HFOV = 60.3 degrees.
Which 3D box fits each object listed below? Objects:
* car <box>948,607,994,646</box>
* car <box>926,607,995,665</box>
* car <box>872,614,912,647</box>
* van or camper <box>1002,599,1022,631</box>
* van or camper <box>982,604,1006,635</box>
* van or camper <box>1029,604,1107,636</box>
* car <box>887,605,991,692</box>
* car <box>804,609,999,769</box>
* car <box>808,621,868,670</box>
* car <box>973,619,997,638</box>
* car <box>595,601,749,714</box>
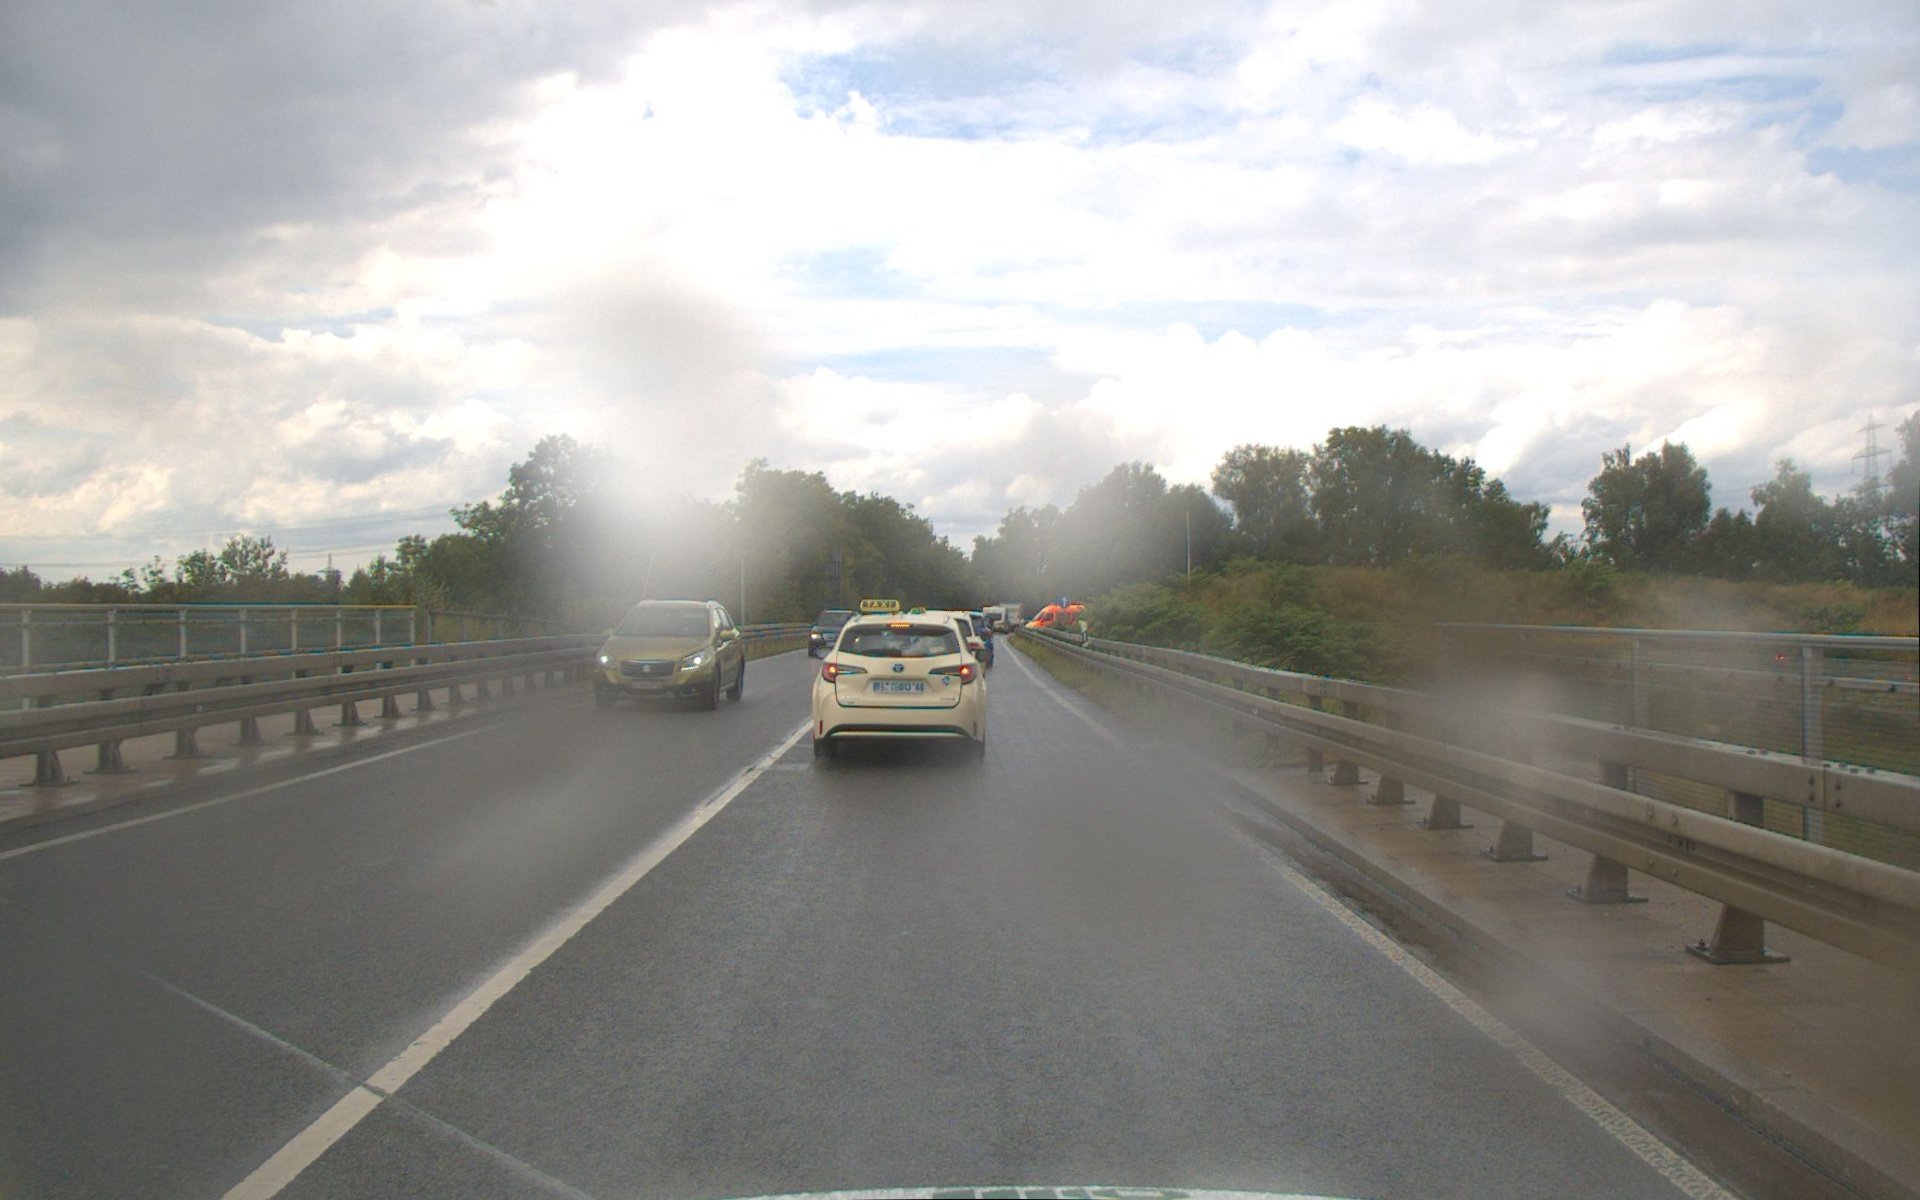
[{"bbox_3d":[0.420,1.047,67.370,1.816,1.468,4.170,1,0,-1],"label":"car"},{"bbox_3d":[-0.004,0.988,46.541,1.816,1.468,4.170,1,0,-1],"label":"car"},{"bbox_3d":[-3.376,1.476,82.306,1.773,1.536,4.610,1,0,0],"label":"car"},{"bbox_3d":[6.081,1.767,194.399,2.284,3.625,6.307,1,0,1],"label":"van or camper"},{"bbox_3d":[3.334,1.890,163.140,2.284,2.914,6.307,1,0,1],"label":"van or camper"},{"bbox_3d":[8.304,1.535,127.071,5.583,2.281,2.012,1,0,-15],"label":"van or camper"},{"bbox_3d":[-0.393,0.863,31.543,1.816,1.468,4.170,1,0,-1],"label":"car"},{"bbox_3d":[-0.568,0.857,17.734,1.816,1.418,4.170,1,0,-1],"label":"car"},{"bbox_3d":[-3.944,1.443,53.975,1.662,1.457,4.322,1,0,-1],"label":"car"},{"bbox_3d":[2.143,2.390,140.204,1.815,1.468,4.172,1,0,3],"label":"car"},{"bbox_3d":[-4.262,0.839,25.015,1.679,1.543,3.858,1,-1,-1],"label":"car"}]
